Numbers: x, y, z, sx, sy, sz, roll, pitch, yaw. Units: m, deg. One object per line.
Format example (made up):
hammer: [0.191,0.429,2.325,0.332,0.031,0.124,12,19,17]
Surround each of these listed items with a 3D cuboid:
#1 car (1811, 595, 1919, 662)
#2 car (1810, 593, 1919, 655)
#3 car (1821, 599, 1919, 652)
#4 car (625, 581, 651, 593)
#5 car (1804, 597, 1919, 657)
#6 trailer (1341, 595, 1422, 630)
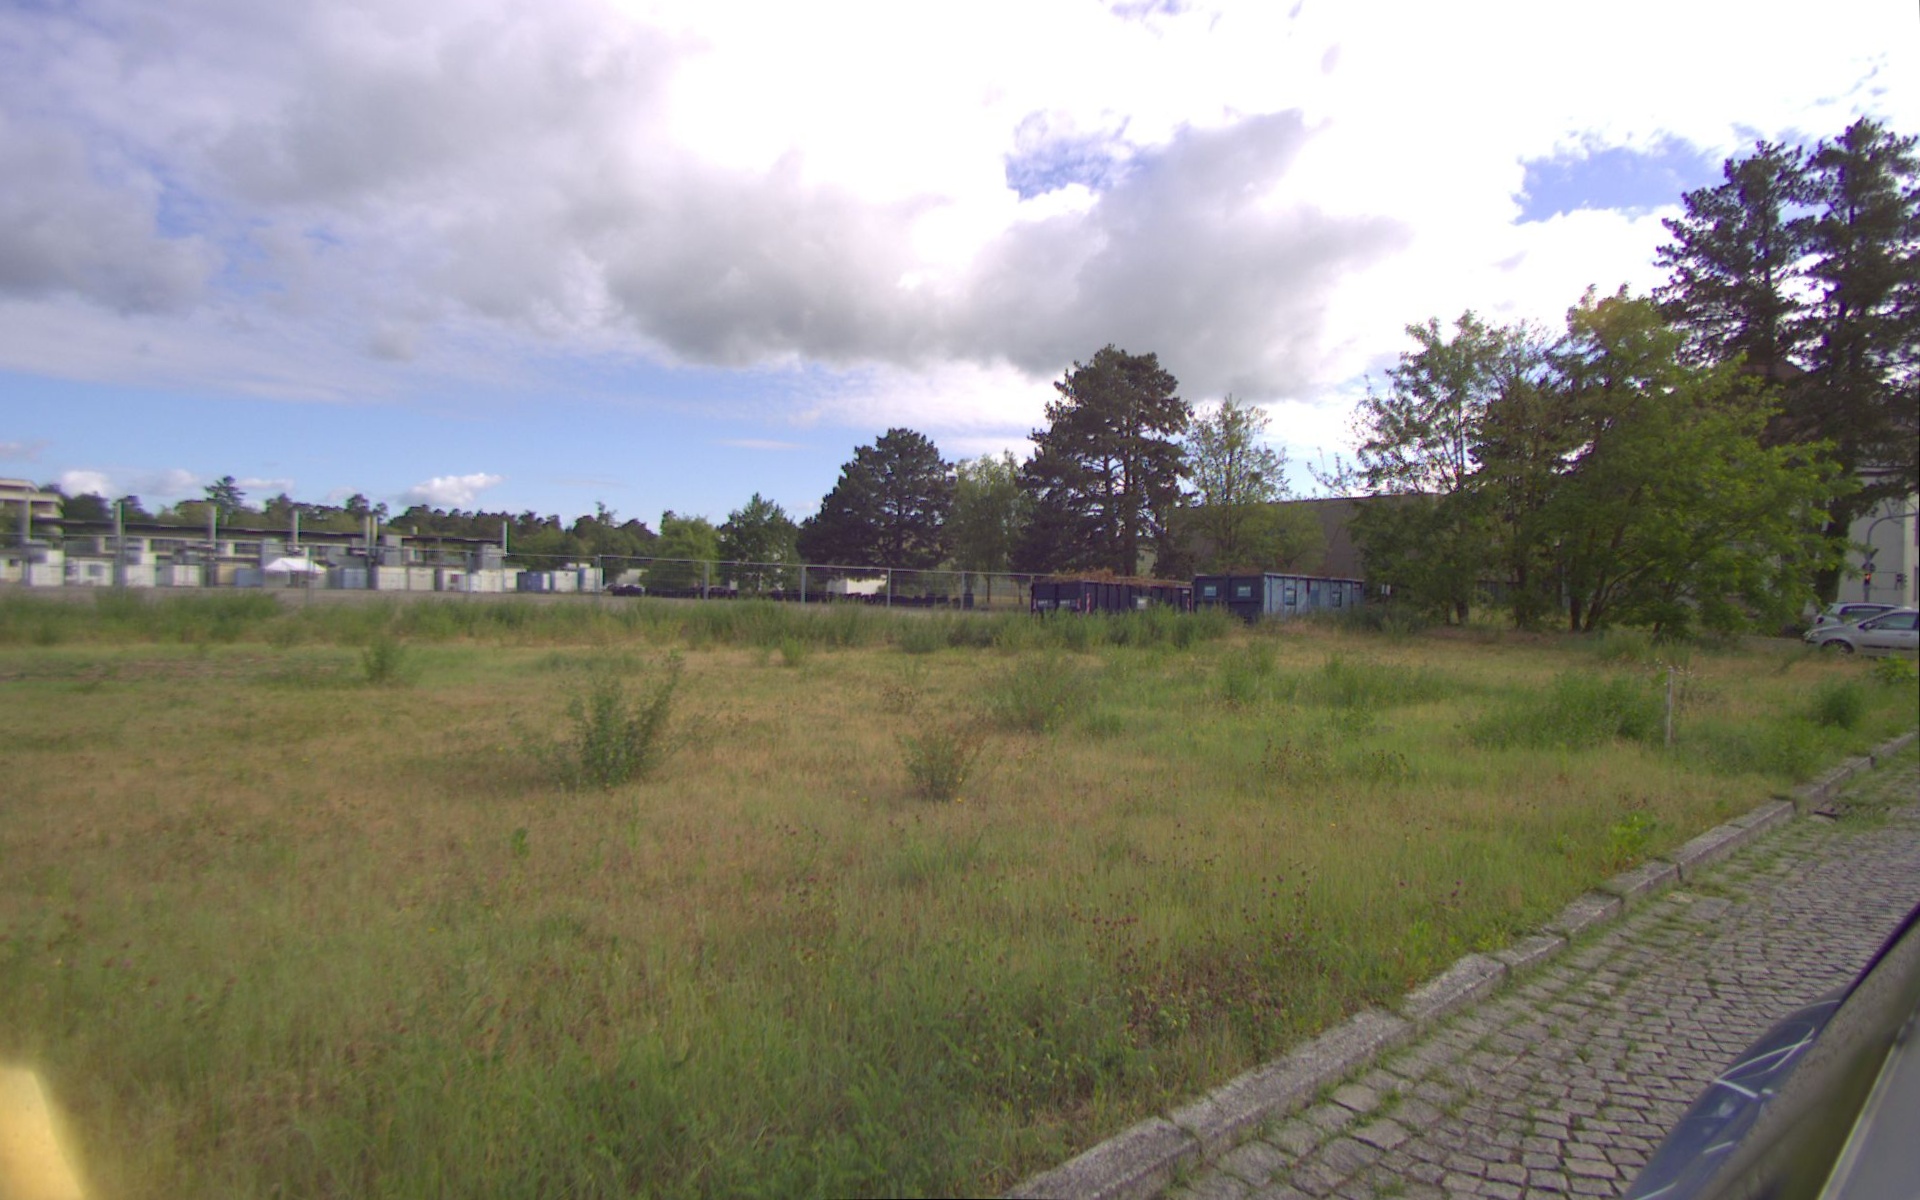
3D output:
car: [23.877,0.777,25.265,1.713,1.498,3.779,2,3,-43]
car: [27.483,0.731,29.212,1.797,1.593,4.334,0,4,-45]
car: [29.405,0.841,30.857,1.796,1.442,4.557,0,4,-43]
car: [-56.239,-2.283,176.764,4.007,1.862,1.785,1,1,-38]
car: [25.716,0.801,27.206,1.765,1.423,4.376,2,3,-41]
trailer: [14.488,0.406,34.818,1.124,1.185,2.316,0,0,-41]
